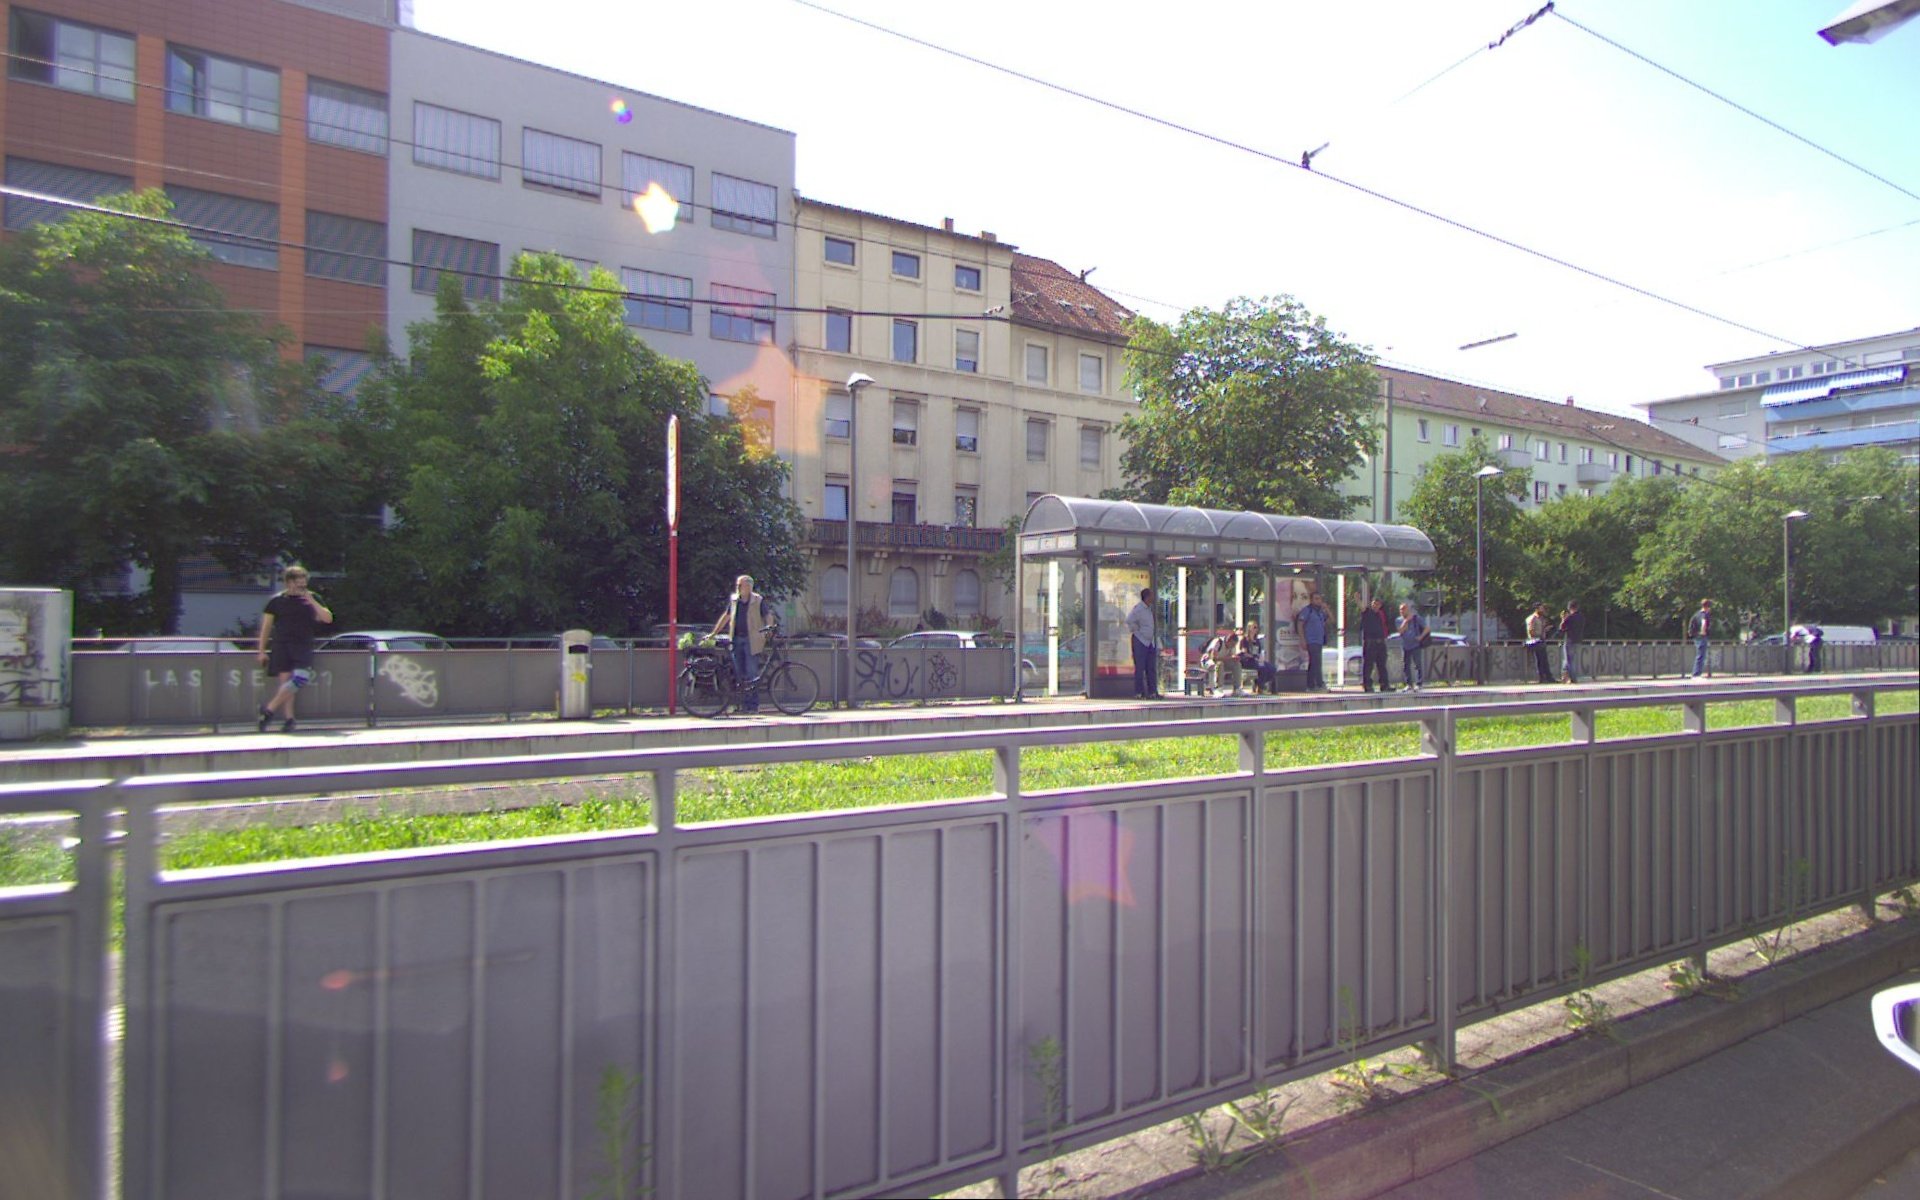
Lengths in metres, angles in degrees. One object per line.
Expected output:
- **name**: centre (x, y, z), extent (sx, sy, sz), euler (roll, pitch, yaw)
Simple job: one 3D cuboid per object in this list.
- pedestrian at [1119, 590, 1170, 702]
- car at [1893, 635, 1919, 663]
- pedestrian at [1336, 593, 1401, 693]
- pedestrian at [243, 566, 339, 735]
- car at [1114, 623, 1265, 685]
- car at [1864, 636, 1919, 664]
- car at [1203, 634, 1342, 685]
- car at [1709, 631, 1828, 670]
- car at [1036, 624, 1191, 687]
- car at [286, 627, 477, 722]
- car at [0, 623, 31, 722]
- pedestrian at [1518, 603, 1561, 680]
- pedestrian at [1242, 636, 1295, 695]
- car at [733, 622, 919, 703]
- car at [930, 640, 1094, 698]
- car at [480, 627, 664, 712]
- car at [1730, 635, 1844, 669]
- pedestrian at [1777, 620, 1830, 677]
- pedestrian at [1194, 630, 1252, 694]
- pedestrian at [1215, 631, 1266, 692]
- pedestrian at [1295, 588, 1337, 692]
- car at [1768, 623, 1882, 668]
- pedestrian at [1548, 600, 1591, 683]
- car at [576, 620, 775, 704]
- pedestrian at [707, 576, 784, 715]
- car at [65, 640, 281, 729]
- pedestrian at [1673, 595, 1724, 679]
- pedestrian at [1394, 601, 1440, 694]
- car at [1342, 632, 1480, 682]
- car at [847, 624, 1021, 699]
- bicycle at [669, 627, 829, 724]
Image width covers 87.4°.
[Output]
- **pedestrian**: centre (2.959, 0.726, 16.104), extent (0.617, 1.749, 0.483), euler (2, -1, -32)
- **car**: centre (56.523, 2.834, 57.979), extent (3.601, 1.600, 1.646), euler (0, -1, 30)
- **pedestrian**: centre (7.418, 0.783, 18.249), extent (1.025, 1.765, 0.628), euler (2, -2, -33)
- **pedestrian**: centre (-7.106, 0.531, 10.706), extent (0.790, 1.721, 0.662), euler (2, -2, -32)
- **car**: centre (6.650, 1.537, 29.083), extent (4.056, 1.661, 1.835), euler (0, -2, 21)
- **car**: centre (52.387, 2.746, 55.079), extent (3.957, 1.534, 1.606), euler (-1, -2, 31)
- **car**: centre (9.492, 1.772, 30.522), extent (3.944, 1.410, 1.816), euler (0, 0, 20)
- **car**: centre (37.484, 2.327, 46.683), extent (3.923, 1.662, 1.826), euler (0, 0, 24)
- **car**: centre (4.201, 1.470, 27.603), extent (3.926, 1.589, 1.607), euler (0, -1, 27)
- **car**: centre (-10.491, 1.276, 18.189), extent (3.254, 1.439, 1.582), euler (2, 0, 31)
- **car**: centre (-16.682, 1.114, 15.760), extent (3.923, 1.516, 1.650), euler (0, -1, 24)
- **pedestrian**: centre (12.912, 0.920, 22.388), extent (0.617, 1.696, 0.604), euler (2, -2, -30)
- **pedestrian**: centre (5.486, 1.158, 17.873), extent (0.556, 1.008, 0.701), euler (2, -3, -32)
- **car**: centre (-3.070, 1.366, 23.020), extent (3.924, 1.549, 1.671), euler (2, 1, 25)
- **car**: centre (1.354, 1.764, 26.415), extent (3.930, 1.165, 1.789), euler (2, 1, 31)
- **car**: centre (-7.591, 1.333, 19.690), extent (3.009, 1.428, 1.672), euler (2, -2, 25)
- **car**: centre (39.647, 2.480, 48.271), extent (3.926, 1.505, 1.607), euler (0, -1, 27)
- **pedestrian**: centre (24.522, 1.400, 29.201), extent (0.790, 1.599, 0.983), euler (2, -2, -32)
- **pedestrian**: centre (4.391, 1.029, 16.798), extent (0.617, 1.044, 0.716), euler (2, -3, -32)
- **pedestrian**: centre (4.904, 1.077, 17.568), extent (0.556, 1.044, 0.650), euler (2, -3, -32)
- **pedestrian**: centre (6.508, 0.732, 18.349), extent (0.617, 1.851, 0.440), euler (2, -2, -33)
- **car**: centre (42.431, 2.193, 49.401), extent (3.881, 2.097, 2.046), euler (0, -1, 30)
- **pedestrian**: centre (13.210, 0.895, 21.779), extent (0.612, 1.777, 0.609), euler (1, -1, 11)
- **car**: centre (-6.078, 1.282, 21.442), extent (3.924, 1.661, 1.672), euler (-1, -3, 25)
- **pedestrian**: centre (-2.810, 0.593, 13.133), extent (0.790, 1.747, 0.634), euler (2, -2, -32)
- **car**: centre (-13.282, 1.362, 16.955), extent (3.191, 1.321, 1.602), euler (0, -1, 25)
- **pedestrian**: centre (17.463, 0.872, 23.771), extent (0.631, 1.916, 0.747), euler (4, -2, -27)
- **pedestrian**: centre (8.300, 0.853, 18.255), extent (0.555, 1.654, 0.591), euler (1, -1, -44)
- **car**: centre (15.018, 1.885, 33.688), extent (4.071, 1.585, 1.927), euler (0, -2, 20)
- **car**: centre (-0.644, 1.457, 24.703), extent (3.924, 1.549, 1.671), euler (2, 1, 24)
- **bicycle**: centre (-2.602, 0.919, 12.418), extent (1.849, 1.128, 0.660), euler (1, -3, -22)
